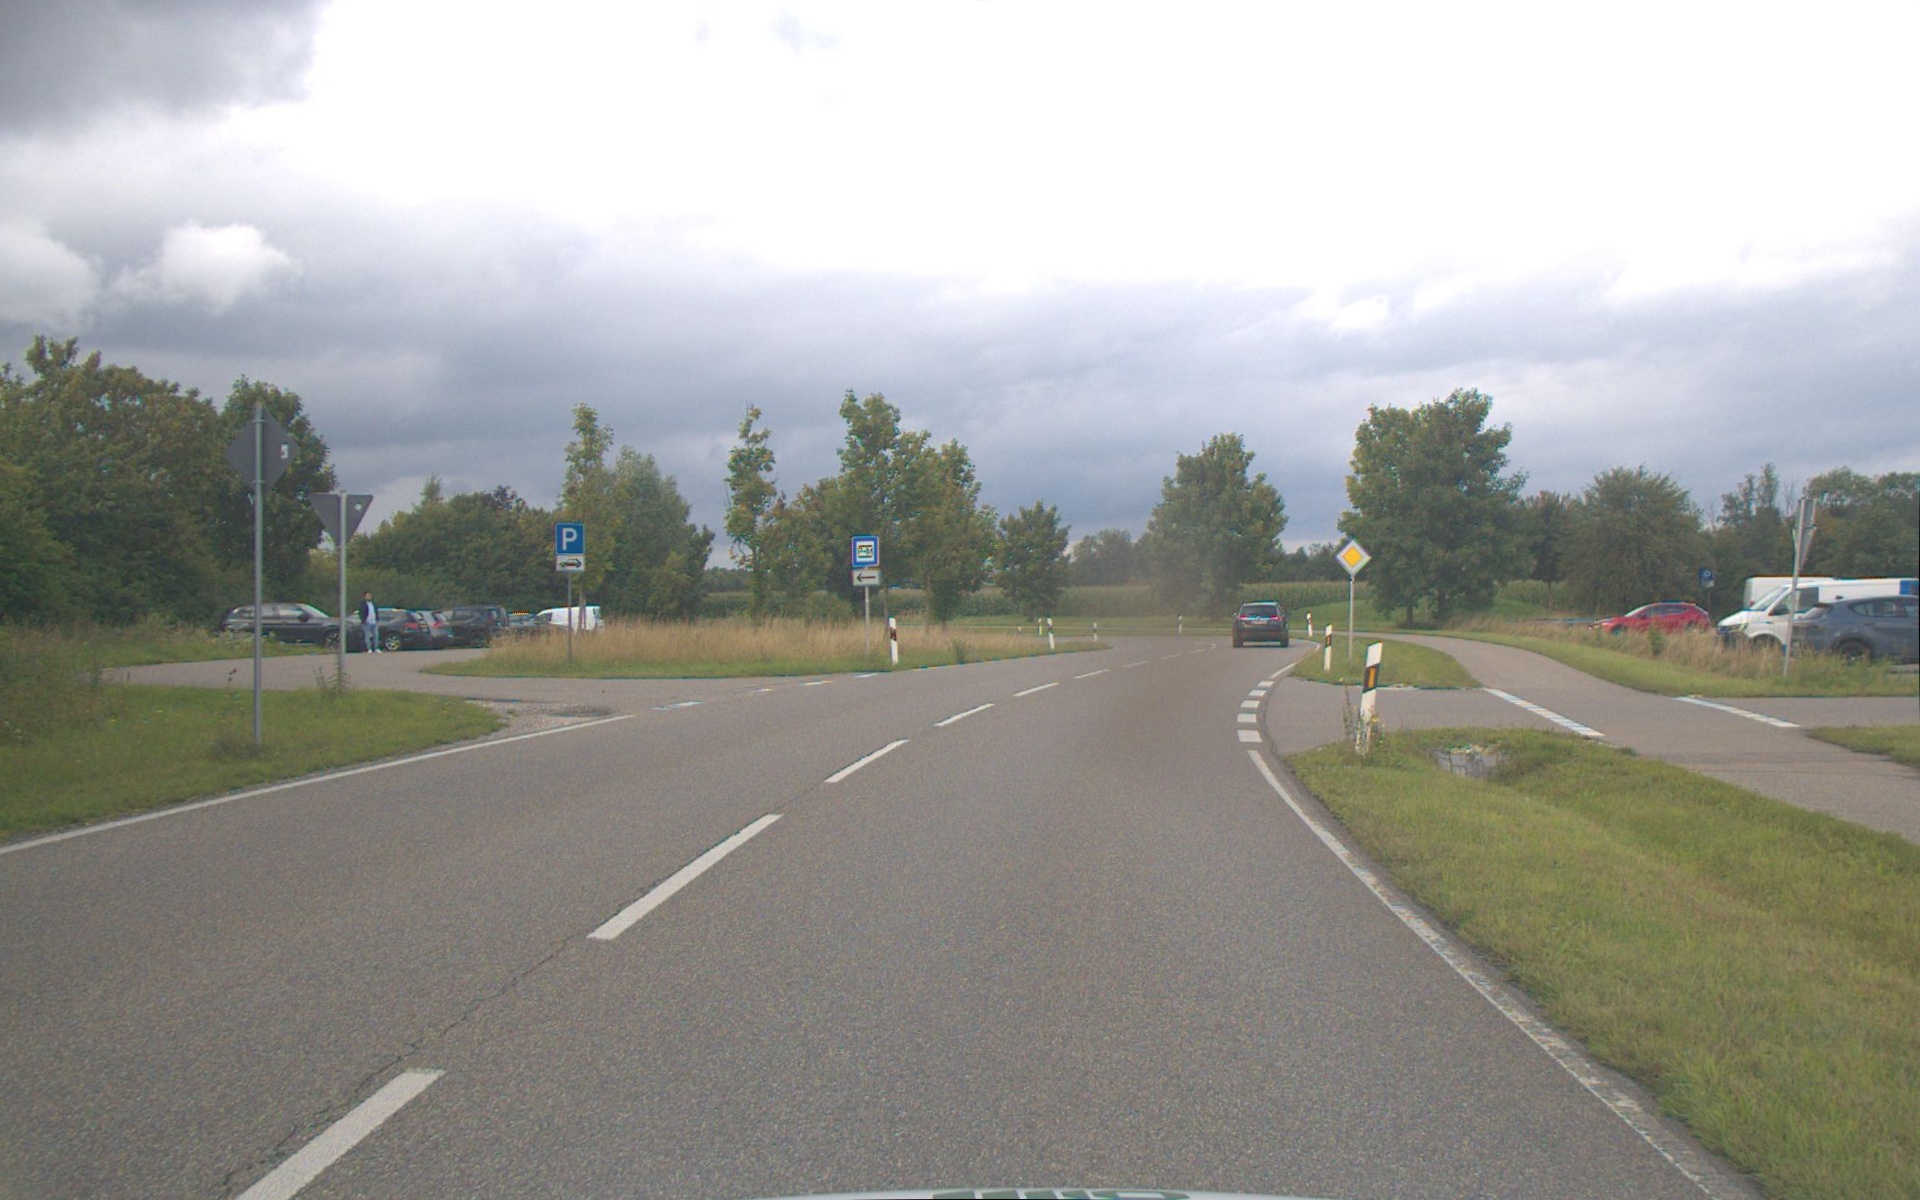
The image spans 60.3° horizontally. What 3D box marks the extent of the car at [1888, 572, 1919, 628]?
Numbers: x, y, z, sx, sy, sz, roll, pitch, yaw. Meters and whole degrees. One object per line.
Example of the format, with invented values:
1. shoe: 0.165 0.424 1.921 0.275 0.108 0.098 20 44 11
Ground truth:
1. car: 37.377 -0.063 61.073 4.918 2.035 2.233 -2 0 11

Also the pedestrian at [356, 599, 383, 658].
1. pedestrian: -17.091 0.827 47.876 0.504 1.696 0.661 0 0 4

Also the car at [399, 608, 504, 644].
1. car: -20.612 1.045 67.154 3.915 1.404 1.472 0 0 -11

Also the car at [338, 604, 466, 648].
1. car: -20.740 0.968 61.603 4.152 1.593 1.758 0 0 2

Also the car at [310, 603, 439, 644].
1. car: -20.587 0.822 58.250 3.905 1.404 1.824 0 0 1

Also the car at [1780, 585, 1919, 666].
1. car: 19.754 0.495 34.712 4.180 1.593 1.839 -2 0 12

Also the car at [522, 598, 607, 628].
1. car: -19.557 0.636 81.850 3.909 1.404 1.474 0 0 -5

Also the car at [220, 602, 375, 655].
1. car: -20.794 0.879 52.035 4.155 1.593 1.757 0 0 -2

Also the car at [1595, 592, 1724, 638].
1. car: 27.012 0.580 63.987 4.236 1.603 1.973 -2 0 11

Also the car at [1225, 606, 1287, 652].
1. car: 9.775 0.924 54.814 1.802 1.442 4.003 0 0 7

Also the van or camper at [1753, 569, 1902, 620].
1. van or camper: 45.264 -0.273 86.458 6.599 2.606 2.050 0 0 16

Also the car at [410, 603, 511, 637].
1. car: -21.236 0.836 70.409 3.914 1.404 1.472 0 0 -10

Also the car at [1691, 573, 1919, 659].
1. car: 20.334 0.379 39.628 4.840 2.009 1.957 0 0 12
